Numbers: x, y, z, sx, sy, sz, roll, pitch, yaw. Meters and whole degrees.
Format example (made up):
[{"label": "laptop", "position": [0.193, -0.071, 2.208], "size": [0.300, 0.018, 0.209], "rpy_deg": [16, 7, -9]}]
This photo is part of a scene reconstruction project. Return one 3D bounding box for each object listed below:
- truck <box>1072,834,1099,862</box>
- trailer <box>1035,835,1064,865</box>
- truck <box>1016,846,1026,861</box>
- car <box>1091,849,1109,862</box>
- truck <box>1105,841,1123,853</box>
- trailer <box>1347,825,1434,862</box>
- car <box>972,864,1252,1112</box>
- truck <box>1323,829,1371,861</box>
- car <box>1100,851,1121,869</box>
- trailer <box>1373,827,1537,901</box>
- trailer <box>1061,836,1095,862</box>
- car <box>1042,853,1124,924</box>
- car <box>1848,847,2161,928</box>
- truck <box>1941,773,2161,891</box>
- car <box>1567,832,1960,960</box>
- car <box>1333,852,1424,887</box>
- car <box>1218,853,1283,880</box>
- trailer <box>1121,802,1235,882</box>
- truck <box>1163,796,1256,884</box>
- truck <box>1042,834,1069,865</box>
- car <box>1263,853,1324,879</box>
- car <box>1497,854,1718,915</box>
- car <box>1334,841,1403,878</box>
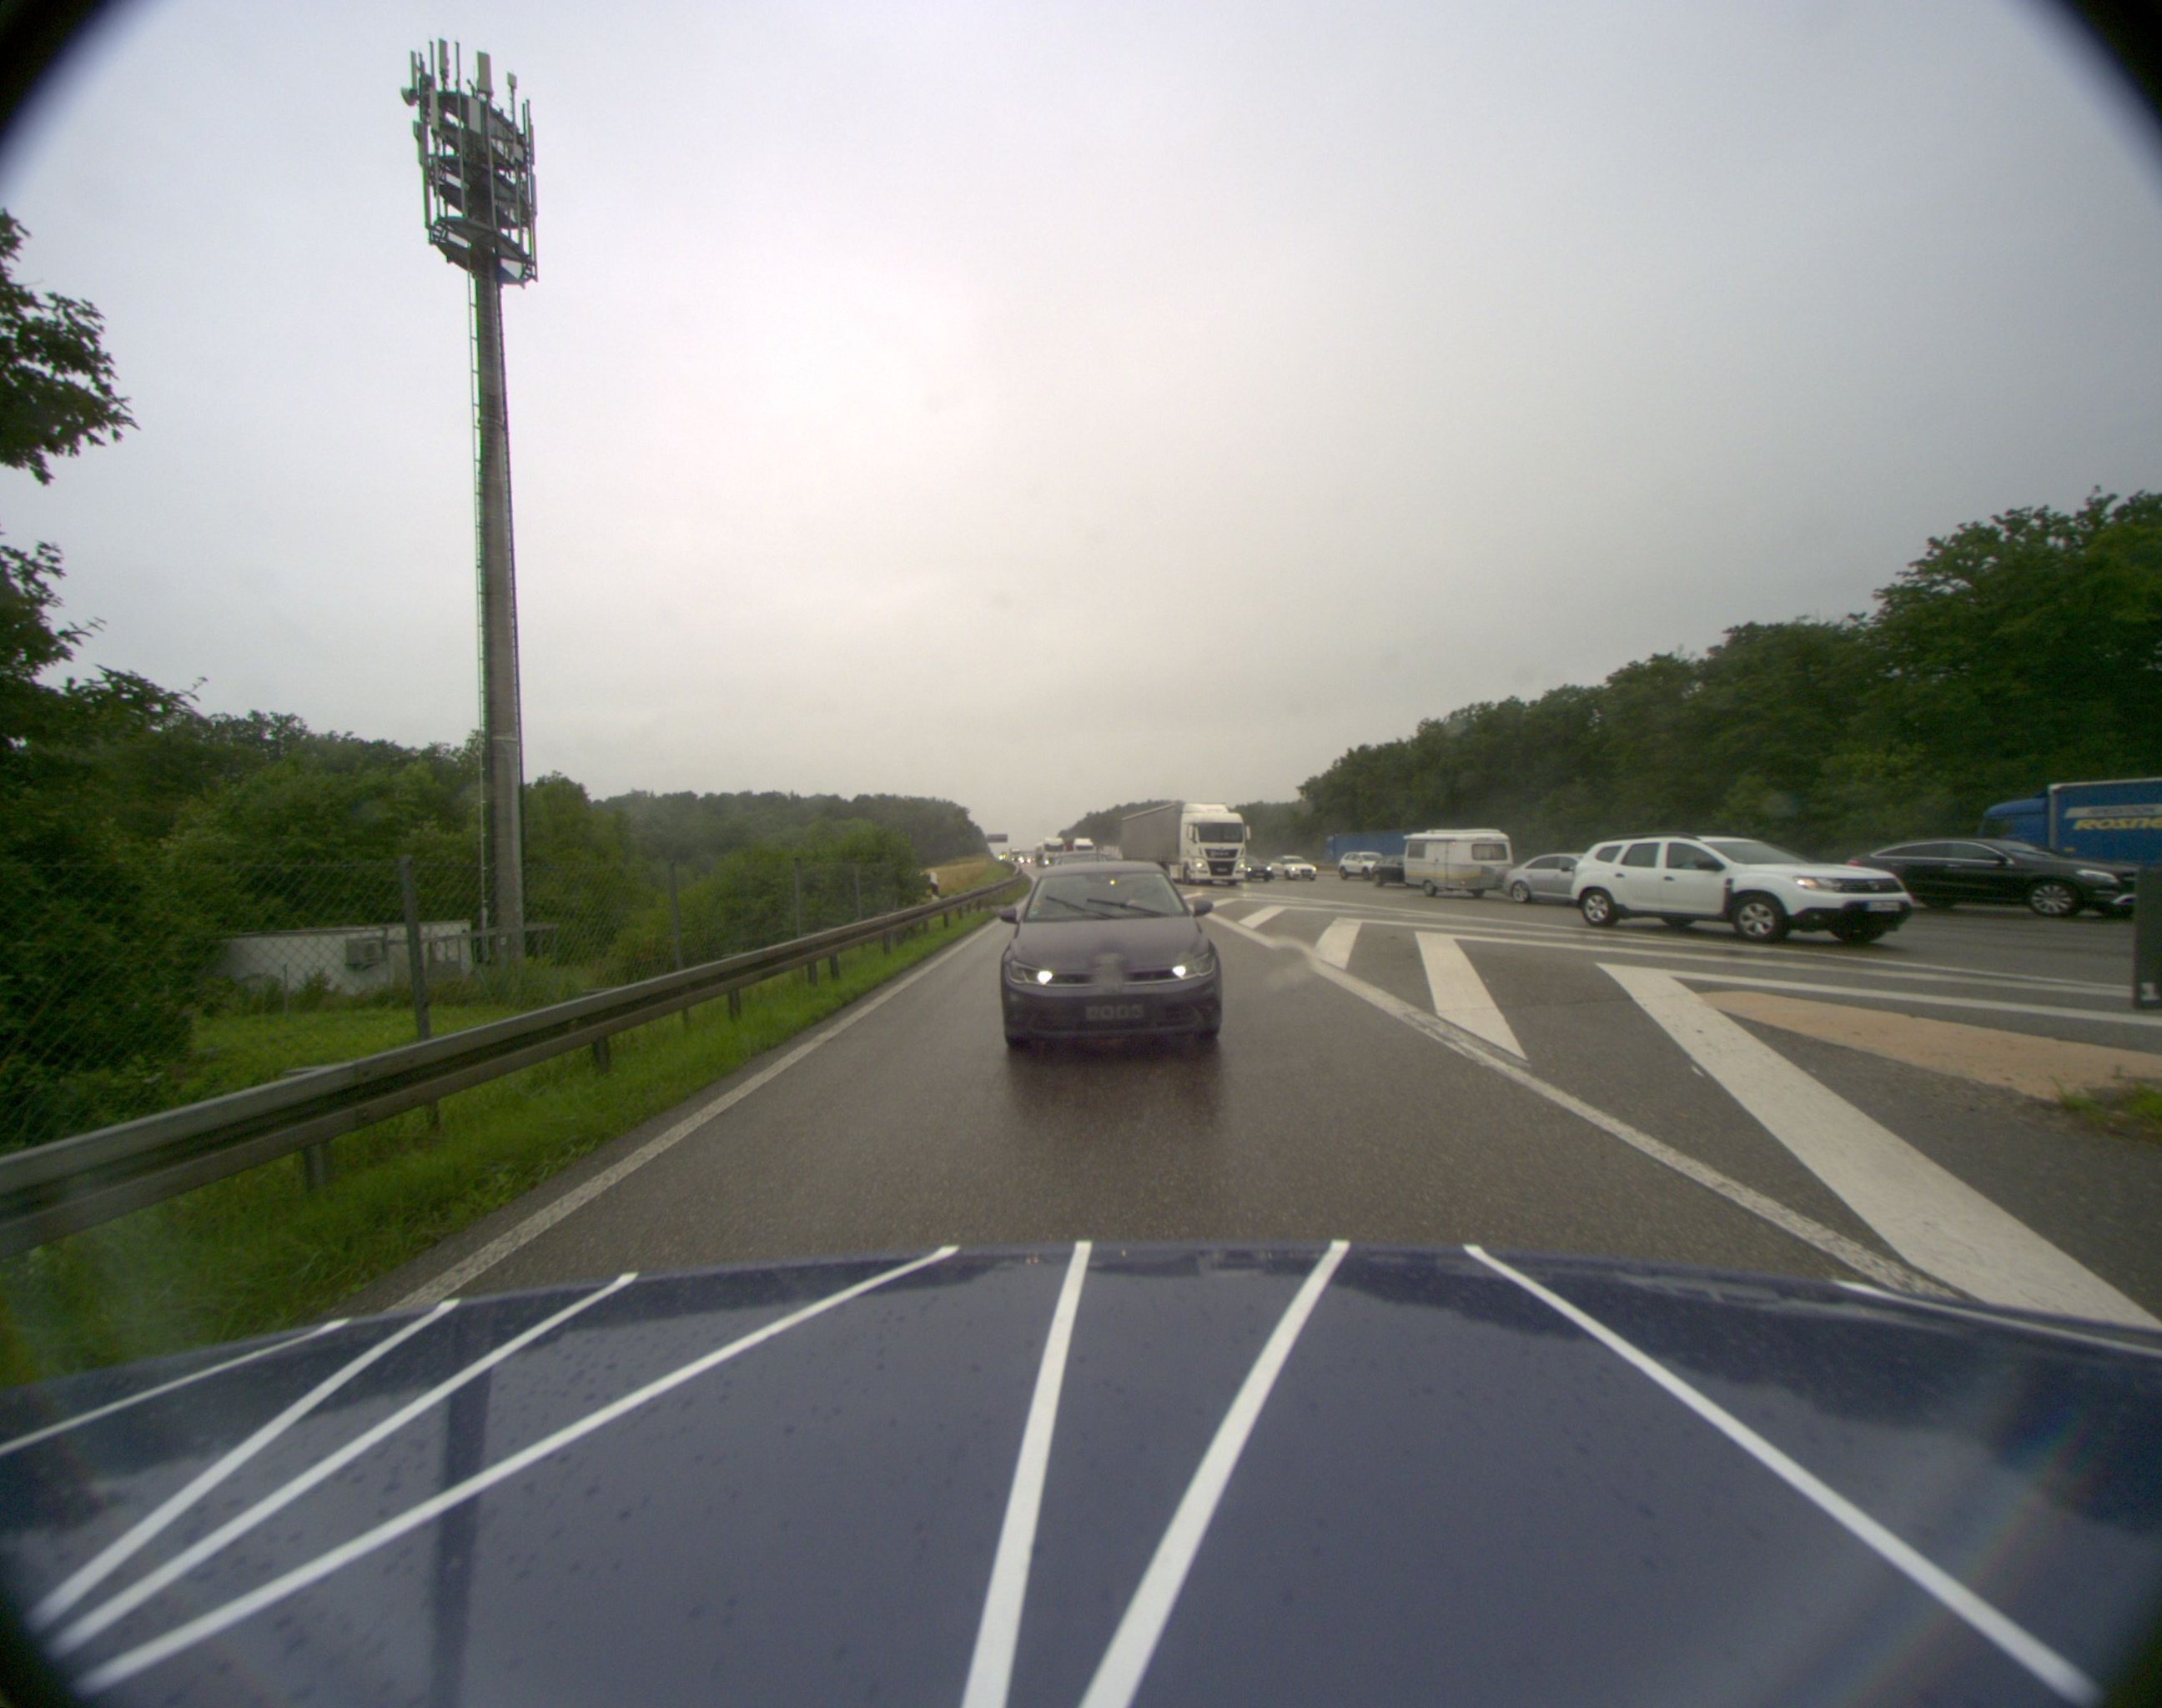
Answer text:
[{"label": "truck", "position": [0.607, -0.807, 106.801], "size": [2.698, 3.635, 5.321], "rpy_deg": [-4, 1, -8]}, {"label": "trailer", "position": [-4.572, -0.524, 108.124], "size": [2.771, 4.002, 11.032], "rpy_deg": [0, 0, -10]}, {"label": "truck", "position": [-17.718, -0.178, 224.789], "size": [2.597, 4.120, 5.229], "rpy_deg": [-4, 0, -2]}, {"label": "car", "position": [2.880, 0.260, 116.984], "size": [2.000, 2.002, 4.109], "rpy_deg": [-1, 0, -9]}, {"label": "truck", "position": [10.296, -2.123, 241.245], "size": [3.157, 3.643, 15.200], "rpy_deg": [-1, 0, -7]}, {"label": "trailer", "position": [30.819, -0.961, 76.402], "size": [2.741, 3.397, 11.391], "rpy_deg": [-1, 0, -8]}, {"label": "car", "position": [0.186, 0.871, 6.904], "size": [1.670, 1.394, 4.261], "rpy_deg": [-4, 0, 0]}, {"label": "truck", "position": [29.683, -0.967, 84.896], "size": [2.770, 3.395, 5.707], "rpy_deg": [-1, 0, -7]}, {"label": "car", "position": [3.207, 0.667, 83.326], "size": [1.766, 1.893, 3.998], "rpy_deg": [-2, 0, -5]}, {"label": "trailer", "position": [11.924, 0.321, 24.736], "size": [2.136, 2.143, 5.175], "rpy_deg": [1, 0, -10]}, {"label": "trailer", "position": [-0.612, -0.726, 114.980], "size": [2.692, 3.485, 15.114], "rpy_deg": [-4, 1, -8]}, {"label": "car", "position": [0.092, 0.804, 19.866], "size": [1.810, 1.532, 4.000], "rpy_deg": [-4, 0, 1]}, {"label": "car", "position": [20.582, 0.663, 17.099], "size": [1.710, 1.566, 4.521], "rpy_deg": [1, 0, -9]}, {"label": "truck", "position": [38.180, -0.843, 26.596], "size": [3.071, 3.957, 10.548], "rpy_deg": [-5, 1, -10]}, {"label": "car", "position": [9.975, 0.546, 11.673], "size": [1.792, 1.577, 4.320], "rpy_deg": [1, 0, -9]}, {"label": "car", "position": [13.979, 0.672, 35.969], "size": [2.000, 1.531, 4.524], "rpy_deg": [0, 0, -9]}, {"label": "car", "position": [9.543, 0.666, 43.208], "size": [1.887, 1.472, 4.497], "rpy_deg": [0, 0, -12]}, {"label": "trailer", "position": [5.190, -0.546, 44.629], "size": [2.904, 3.959, 14.107], "rpy_deg": [0, 0, -9]}, {"label": "truck", "position": [6.229, -0.638, 37.812], "size": [2.882, 4.028, 5.929], "rpy_deg": [0, 0, -9]}, {"label": "truck", "position": [-3.484, -0.554, 101.907], "size": [2.759, 3.985, 6.502], "rpy_deg": [0, 0, -10]}, {"label": "car", "position": [12.698, 0.658, 45.716], "size": [1.886, 1.472, 4.499], "rpy_deg": [0, 0, -9]}, {"label": "car", "position": [12.856, 0.690, 18.998], "size": [1.852, 1.340, 4.578], "rpy_deg": [1, 0, -10]}, {"label": "car", "position": [16.949, 0.318, 44.979], "size": [1.942, 2.002, 3.996], "rpy_deg": [-3, 0, -10]}]
